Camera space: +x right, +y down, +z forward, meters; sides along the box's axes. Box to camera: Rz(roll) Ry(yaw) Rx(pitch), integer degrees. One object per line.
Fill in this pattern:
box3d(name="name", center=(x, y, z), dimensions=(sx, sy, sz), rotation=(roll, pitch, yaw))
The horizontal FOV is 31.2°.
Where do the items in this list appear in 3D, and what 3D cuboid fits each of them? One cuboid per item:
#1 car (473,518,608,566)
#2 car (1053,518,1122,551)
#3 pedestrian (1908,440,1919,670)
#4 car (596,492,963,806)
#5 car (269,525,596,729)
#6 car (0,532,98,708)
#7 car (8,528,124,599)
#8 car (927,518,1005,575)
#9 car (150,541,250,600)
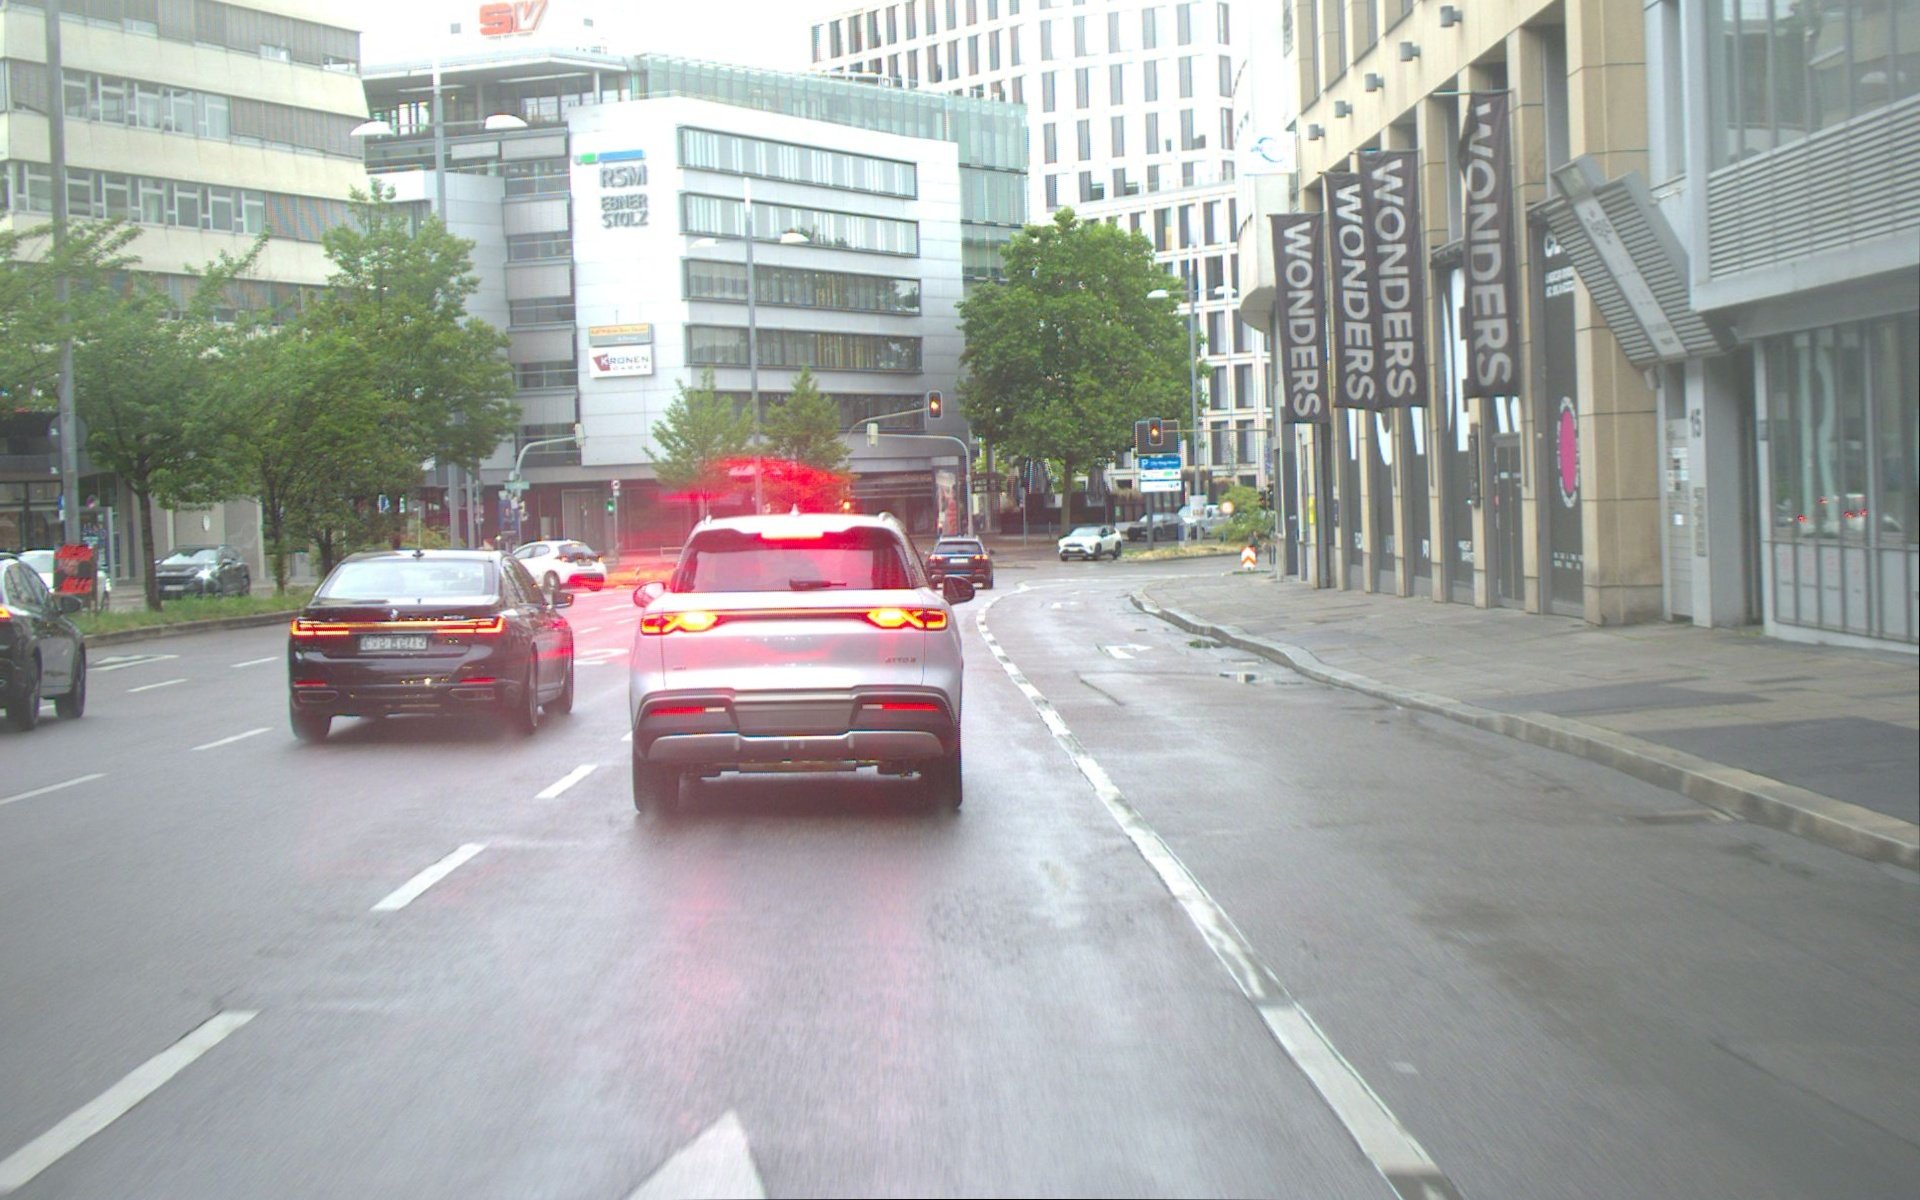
box3d(name="car", center=(-12.084, -1.667, 98.847), dimensions=(3.997, 1.337, 1.655), rotation=(0, 2, 43))
box3d(name="car", center=(6.084, -3.131, 163.802), dimensions=(1.583, 1.533, 3.994), rotation=(0, 1, 30))
box3d(name="pedestrian", center=(7.690, -0.352, 26.236), dimensions=(0.635, 1.766, 0.790), rotation=(-2, 0, 0))
box3d(name="car", center=(-0.975, 0.221, 19.962), dimensions=(1.901, 1.616, 4.000), rotation=(-1, 1, -1))
box3d(name="car", center=(-4.229, 0.152, 28.319), dimensions=(1.872, 1.474, 4.878), rotation=(-1, 1, 0))
box3d(name="car", center=(-8.826, 0.174, 30.358), dimensions=(1.773, 1.452, 4.001), rotation=(-2, 1, -6))
box3d(name="car", center=(-19.978, -0.812, 76.989), dimensions=(1.623, 1.487, 4.307), rotation=(-2, 1, -3))
box3d(name="car", center=(0.196, -1.534, 97.344), dimensions=(1.812, 1.573, 3.999), rotation=(-1, 1, 5))
box3d(name="car", center=(-19.693, -0.774, 89.230), dimensions=(1.623, 1.448, 4.162), rotation=(-2, 1, 0))
